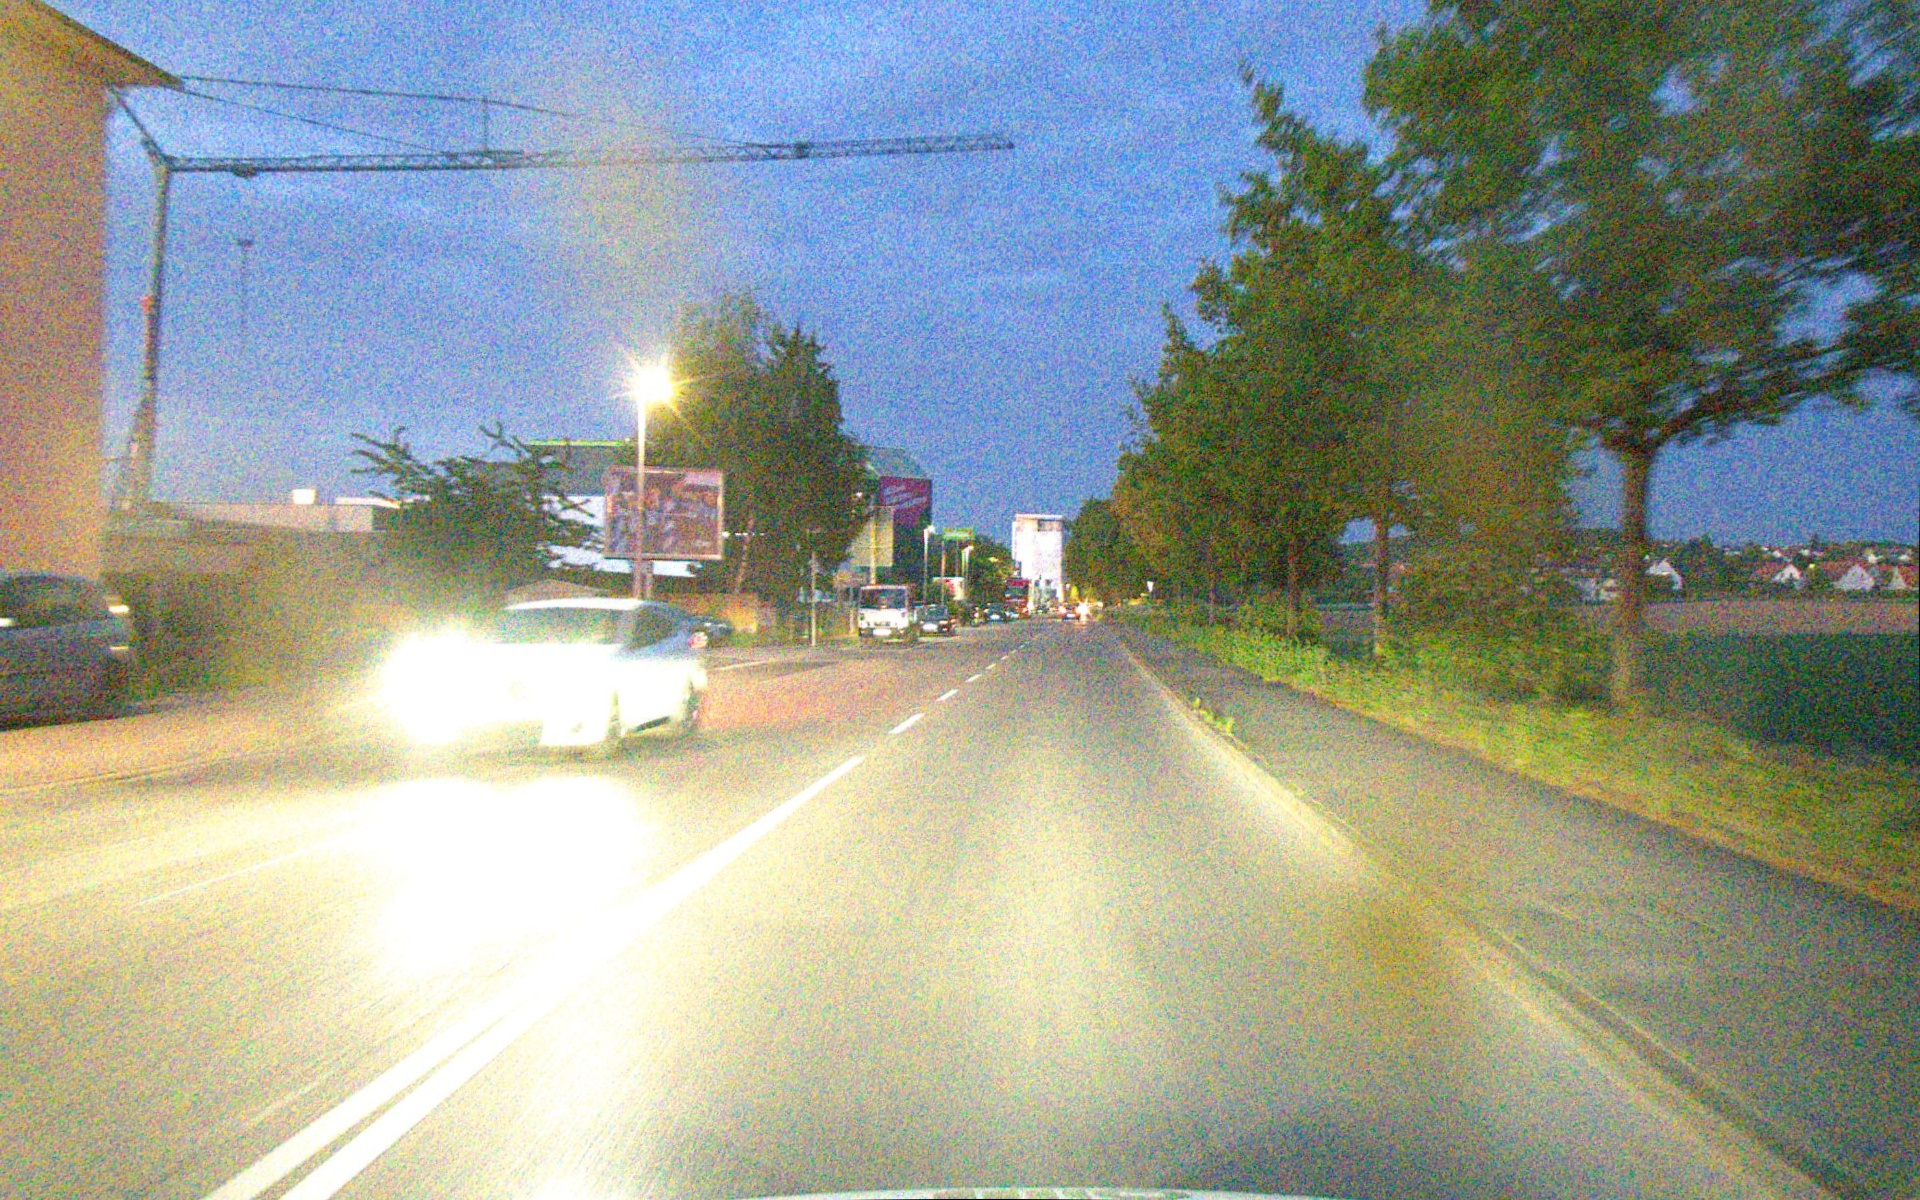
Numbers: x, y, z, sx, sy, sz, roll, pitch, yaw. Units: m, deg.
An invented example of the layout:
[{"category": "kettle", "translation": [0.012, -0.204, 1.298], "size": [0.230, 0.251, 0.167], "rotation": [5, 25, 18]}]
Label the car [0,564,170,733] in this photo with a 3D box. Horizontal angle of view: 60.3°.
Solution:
[{"category": "car", "translation": [-10.092, 0.450, 16.819], "size": [1.718, 1.635, 4.454], "rotation": [1, 0, 4]}]

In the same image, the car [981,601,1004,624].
[{"category": "car", "translation": [2.537, 0.989, 128.982], "size": [1.690, 1.769, 3.807], "rotation": [0, 0, -1]}]

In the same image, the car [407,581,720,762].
[{"category": "car", "translation": [-3.931, 0.646, 17.233], "size": [1.718, 1.635, 4.455], "rotation": [-1, 0, 7]}]

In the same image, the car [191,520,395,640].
[{"category": "car", "translation": [-12.600, -0.413, 31.528], "size": [1.952, 2.048, 4.003], "rotation": [3, 2, 5]}]

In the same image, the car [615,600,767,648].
[{"category": "car", "translation": [-8.068, 0.720, 49.838], "size": [4.258, 1.383, 1.643], "rotation": [0, -1, 1]}]

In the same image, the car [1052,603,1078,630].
[{"category": "car", "translation": [8.702, 1.338, 137.045], "size": [1.952, 2.048, 4.002], "rotation": [-2, 1, 2]}]

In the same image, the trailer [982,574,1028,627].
[{"category": "trailer", "translation": [4.607, -0.055, 172.049], "size": [3.765, 4.975, 10.803], "rotation": [2, 2, -3]}]

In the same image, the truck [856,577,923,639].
[{"category": "truck", "translation": [-2.568, 0.289, 61.657], "size": [2.202, 2.167, 5.979], "rotation": [-1, 0, 0]}]

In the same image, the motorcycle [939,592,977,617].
[{"category": "motorcycle", "translation": [-0.186, 0.379, 141.827], "size": [1.294, 2.048, 3.991], "rotation": [3, 2, 31]}]

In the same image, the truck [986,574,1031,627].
[{"category": "truck", "translation": [4.883, 0.017, 167.126], "size": [3.765, 4.975, 6.350], "rotation": [2, 1, -4]}]

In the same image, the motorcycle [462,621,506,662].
[{"category": "motorcycle", "translation": [-14.400, 1.245, 50.078], "size": [0.966, 1.164, 1.846], "rotation": [1, 0, -6]}]

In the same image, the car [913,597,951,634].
[{"category": "car", "translation": [-1.266, 0.688, 75.994], "size": [1.682, 1.646, 3.838], "rotation": [0, 0, -1]}]

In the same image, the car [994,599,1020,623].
[{"category": "car", "translation": [4.020, 0.954, 141.405], "size": [1.953, 1.930, 3.999], "rotation": [-1, 1, -2]}]
